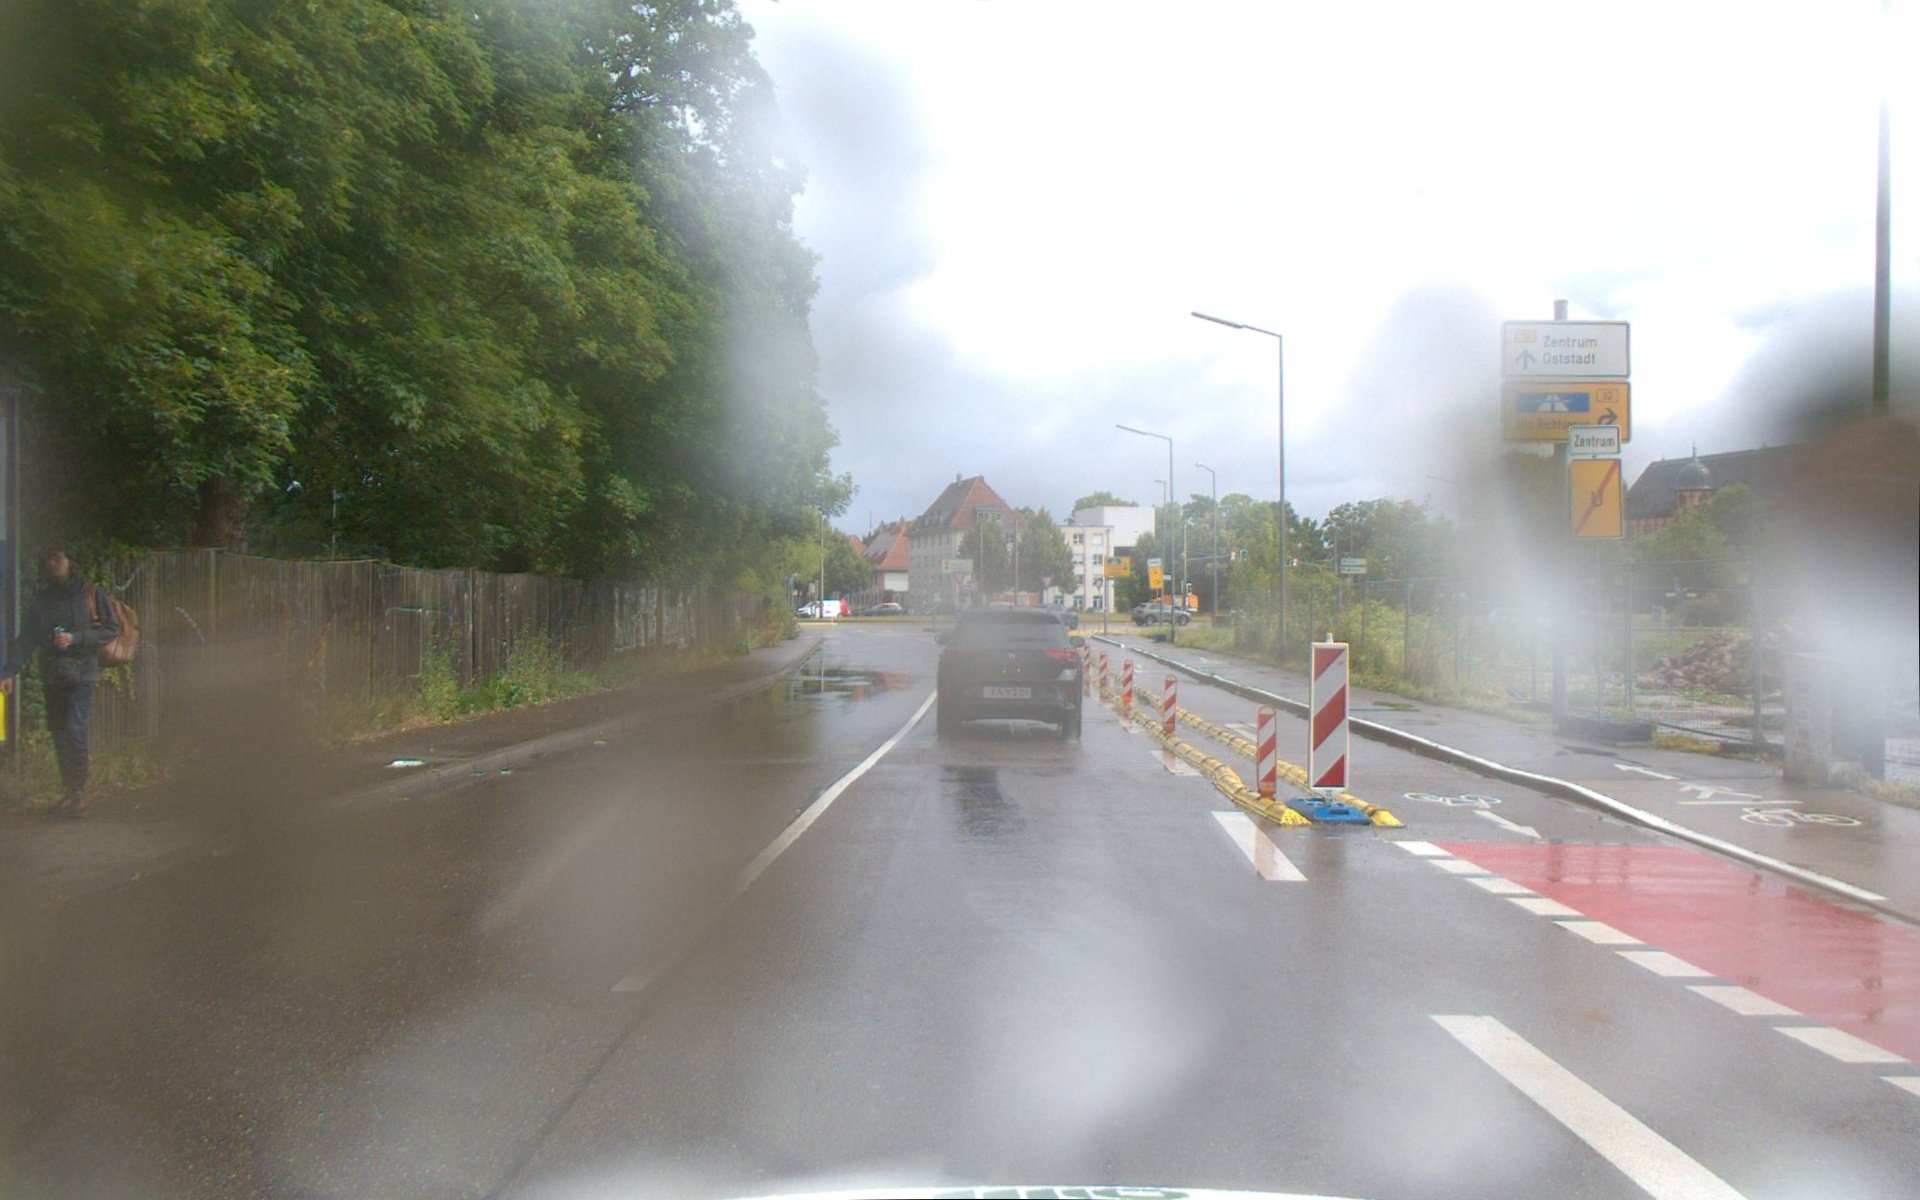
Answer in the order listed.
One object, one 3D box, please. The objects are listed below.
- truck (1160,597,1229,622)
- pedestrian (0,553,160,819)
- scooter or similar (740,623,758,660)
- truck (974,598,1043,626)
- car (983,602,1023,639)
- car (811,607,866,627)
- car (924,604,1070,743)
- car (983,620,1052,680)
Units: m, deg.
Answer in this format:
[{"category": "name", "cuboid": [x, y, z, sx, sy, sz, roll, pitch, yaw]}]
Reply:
[{"category": "truck", "cuboid": [23.800, 0.952, 168.127, 6.579, 2.485, 2.428, -1, -1, 31]}, {"category": "pedestrian", "cuboid": [-6.166, 0.587, 11.559, 0.821, 1.800, 0.644, -1, -1, 1]}, {"category": "scooter or similar", "cuboid": [-6.859, 1.355, 53.854, 0.551, 1.183, 1.207, 0, -1, -6]}, {"category": "truck", "cuboid": [4.880, 1.188, 166.158, 6.918, 2.696, 2.331, 0, 0, 3]}, {"category": "car", "cuboid": [2.173, 1.055, 84.951, 1.826, 1.841, 4.402, 0, 0, -1]}, {"category": "car", "cuboid": [-11.703, 1.628, 159.603, 5.080, 1.909, 1.868, 0, 0, -38]}, {"category": "car", "cuboid": [0.393, 0.877, 21.059, 1.674, 1.601, 3.681, 1, -1, -2]}, {"category": "car", "cuboid": [1.521, 1.328, 44.824, 1.700, 1.540, 3.603, 0, 0, -1]}]
